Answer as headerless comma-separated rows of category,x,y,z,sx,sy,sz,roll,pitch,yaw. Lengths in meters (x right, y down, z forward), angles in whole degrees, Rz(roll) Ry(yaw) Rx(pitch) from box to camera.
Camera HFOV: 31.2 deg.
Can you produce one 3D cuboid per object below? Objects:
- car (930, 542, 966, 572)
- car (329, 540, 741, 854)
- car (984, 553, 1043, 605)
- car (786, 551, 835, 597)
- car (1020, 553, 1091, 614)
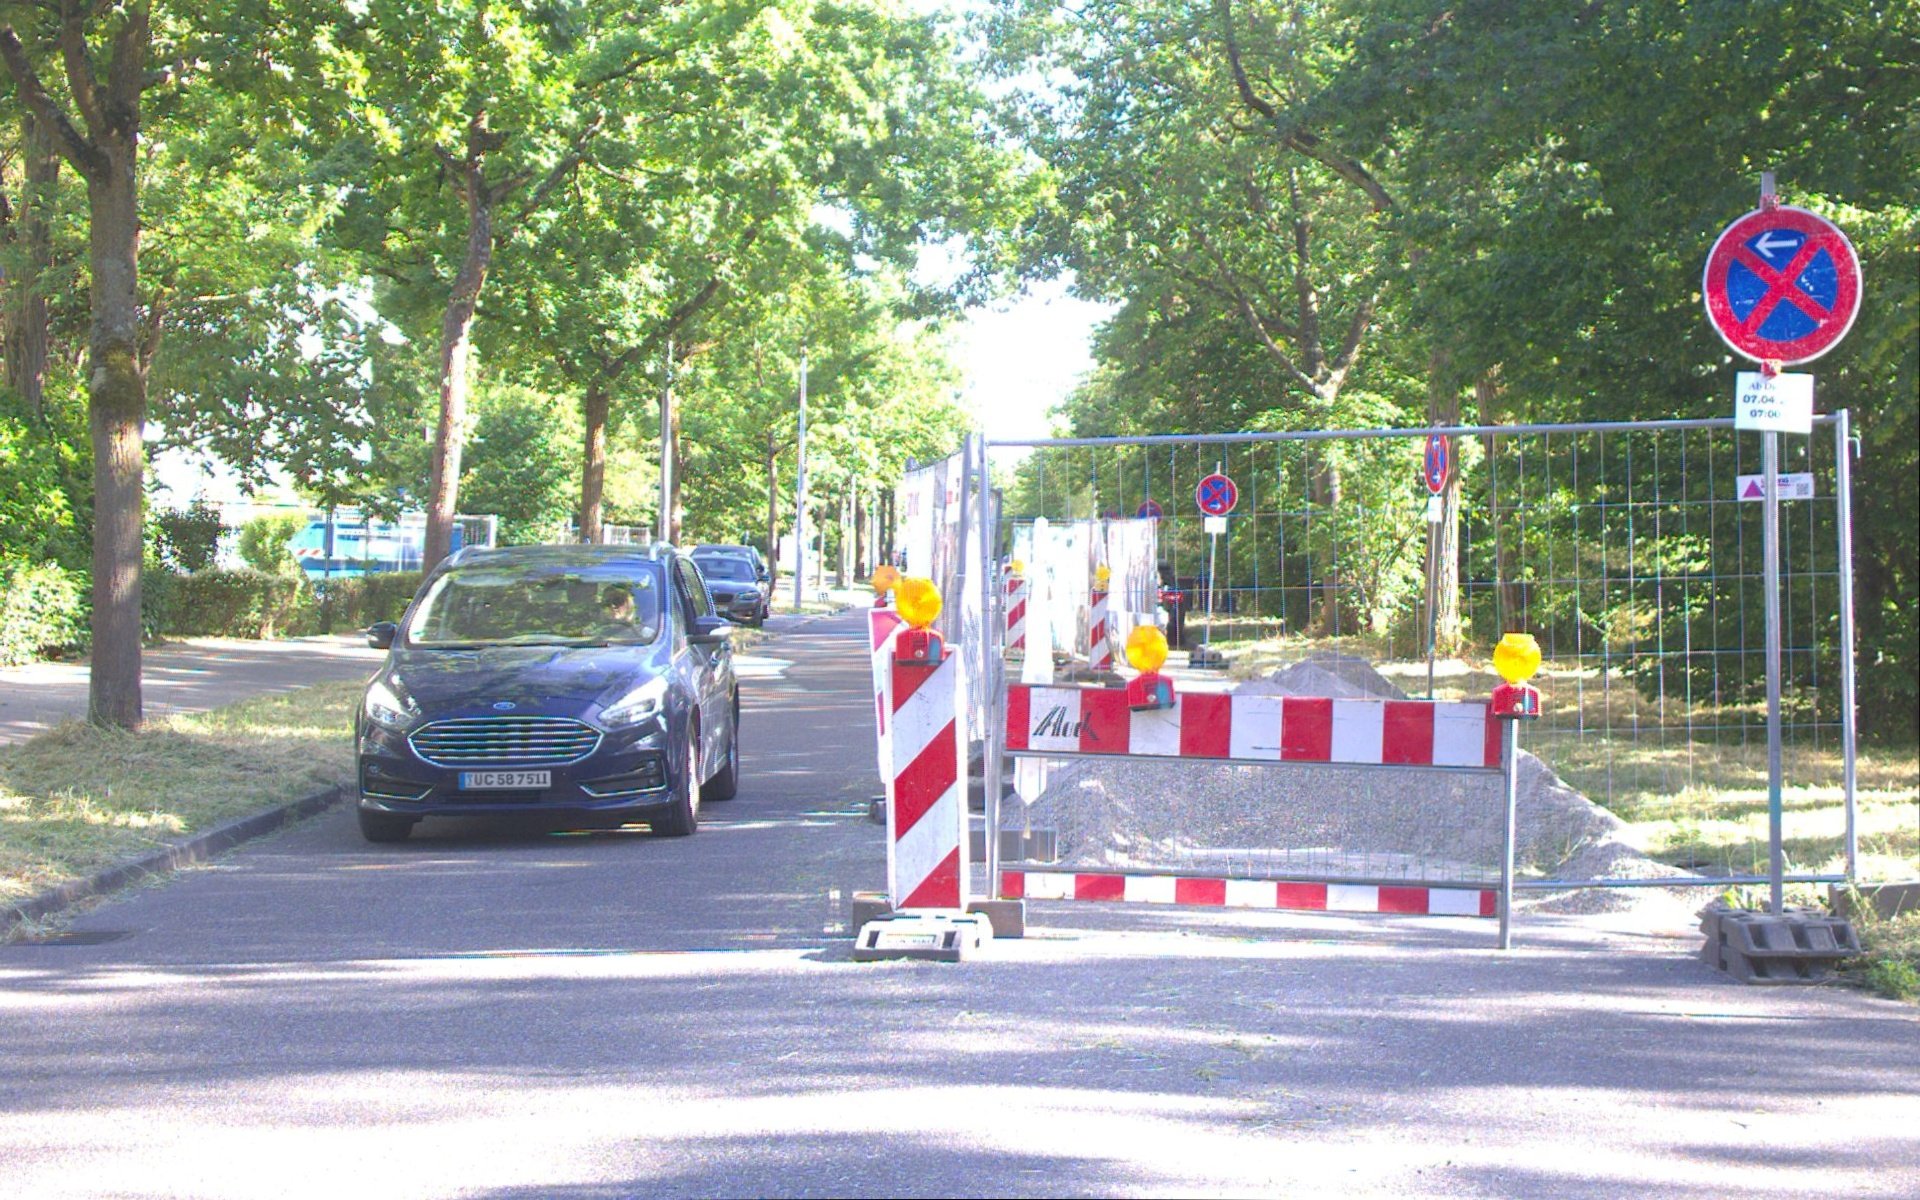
car,-0.667,-2.349,189.027,1.710,1.579,4.000,2,0,-3
car,-2.385,0.478,20.370,1.821,1.619,4.492,-1,1,1
car,1.393,-0.553,90.596,1.361,1.298,3.481,2,0,-2
car,-4.469,-0.778,103.245,1.361,1.298,3.481,2,0,-2
car,2.135,-0.368,77.615,1.361,1.298,3.481,2,0,-2
